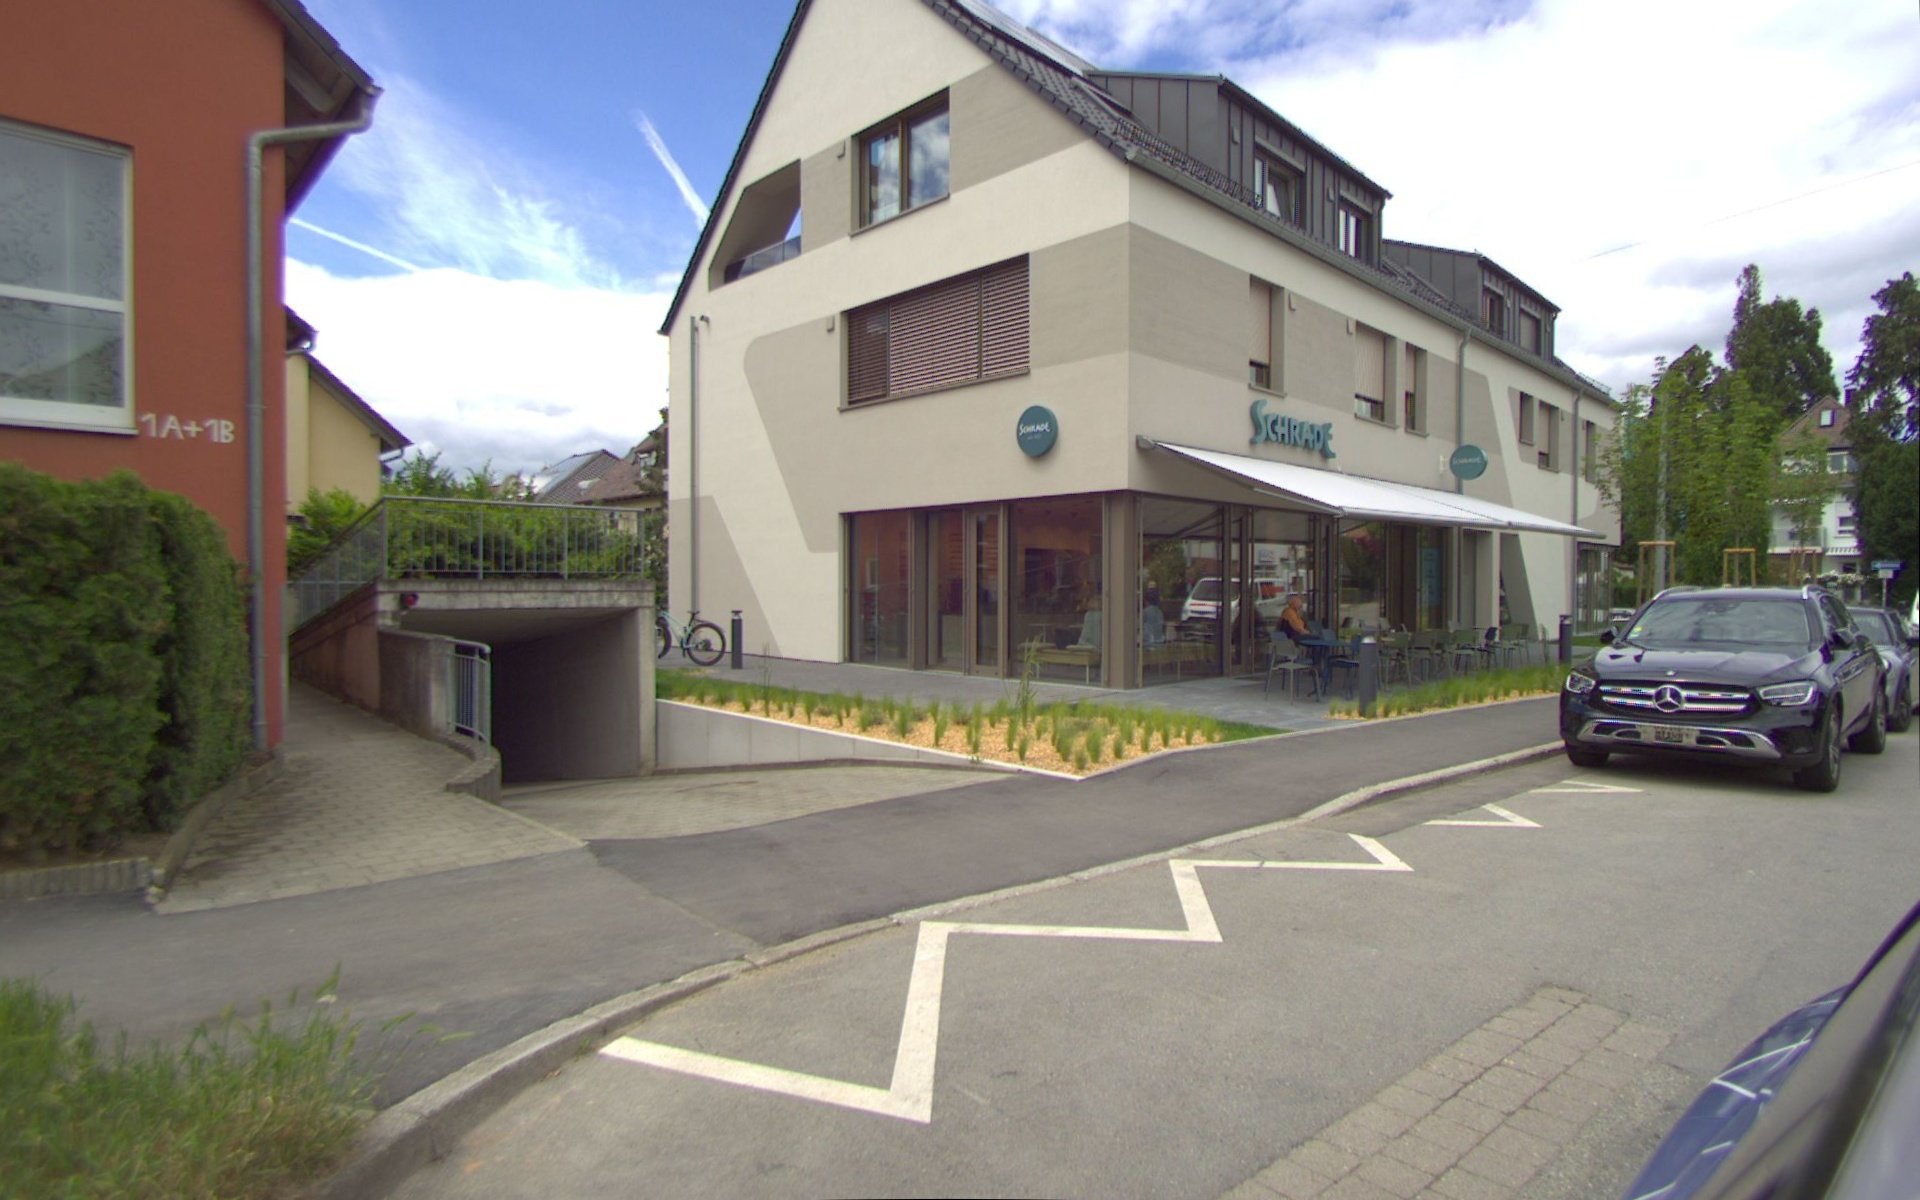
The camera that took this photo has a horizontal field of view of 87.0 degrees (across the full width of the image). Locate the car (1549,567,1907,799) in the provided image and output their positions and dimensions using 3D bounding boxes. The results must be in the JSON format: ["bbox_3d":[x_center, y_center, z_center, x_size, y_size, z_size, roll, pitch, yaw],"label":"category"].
[{"bbox_3d":[7.273,0.578,9.406,4.389,1.657,1.849,-1,0,-42],"label":"car"}]

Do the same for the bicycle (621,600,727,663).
[{"bbox_3d":[-5.051,0.549,17.919,1.751,1.064,0.461,0,1,3],"label":"bicycle"}]

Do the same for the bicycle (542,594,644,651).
[{"bbox_3d":[-7.396,0.453,20.442,1.898,1.120,0.461,0,1,0],"label":"bicycle"}]

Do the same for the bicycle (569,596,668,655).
[{"bbox_3d":[-6.519,0.479,19.325,1.751,1.096,0.461,0,1,3],"label":"bicycle"}]

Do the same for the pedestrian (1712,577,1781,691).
[{"bbox_3d":[12.045,0.501,15.503,0.648,1.689,0.678,0,1,-39],"label":"pedestrian"}]

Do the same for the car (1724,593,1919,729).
[{"bbox_3d":[11.259,0.653,12.868,3.768,1.470,1.710,-1,0,-41],"label":"car"}]

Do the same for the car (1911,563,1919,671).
[{"bbox_3d":[20.673,0.288,20.050,5.468,2.039,1.997,0,-1,-40],"label":"car"}]

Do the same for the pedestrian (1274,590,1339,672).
[{"bbox_3d":[5.474,0.466,15.978,0.681,1.254,0.751,0,1,-45],"label":"pedestrian"}]
